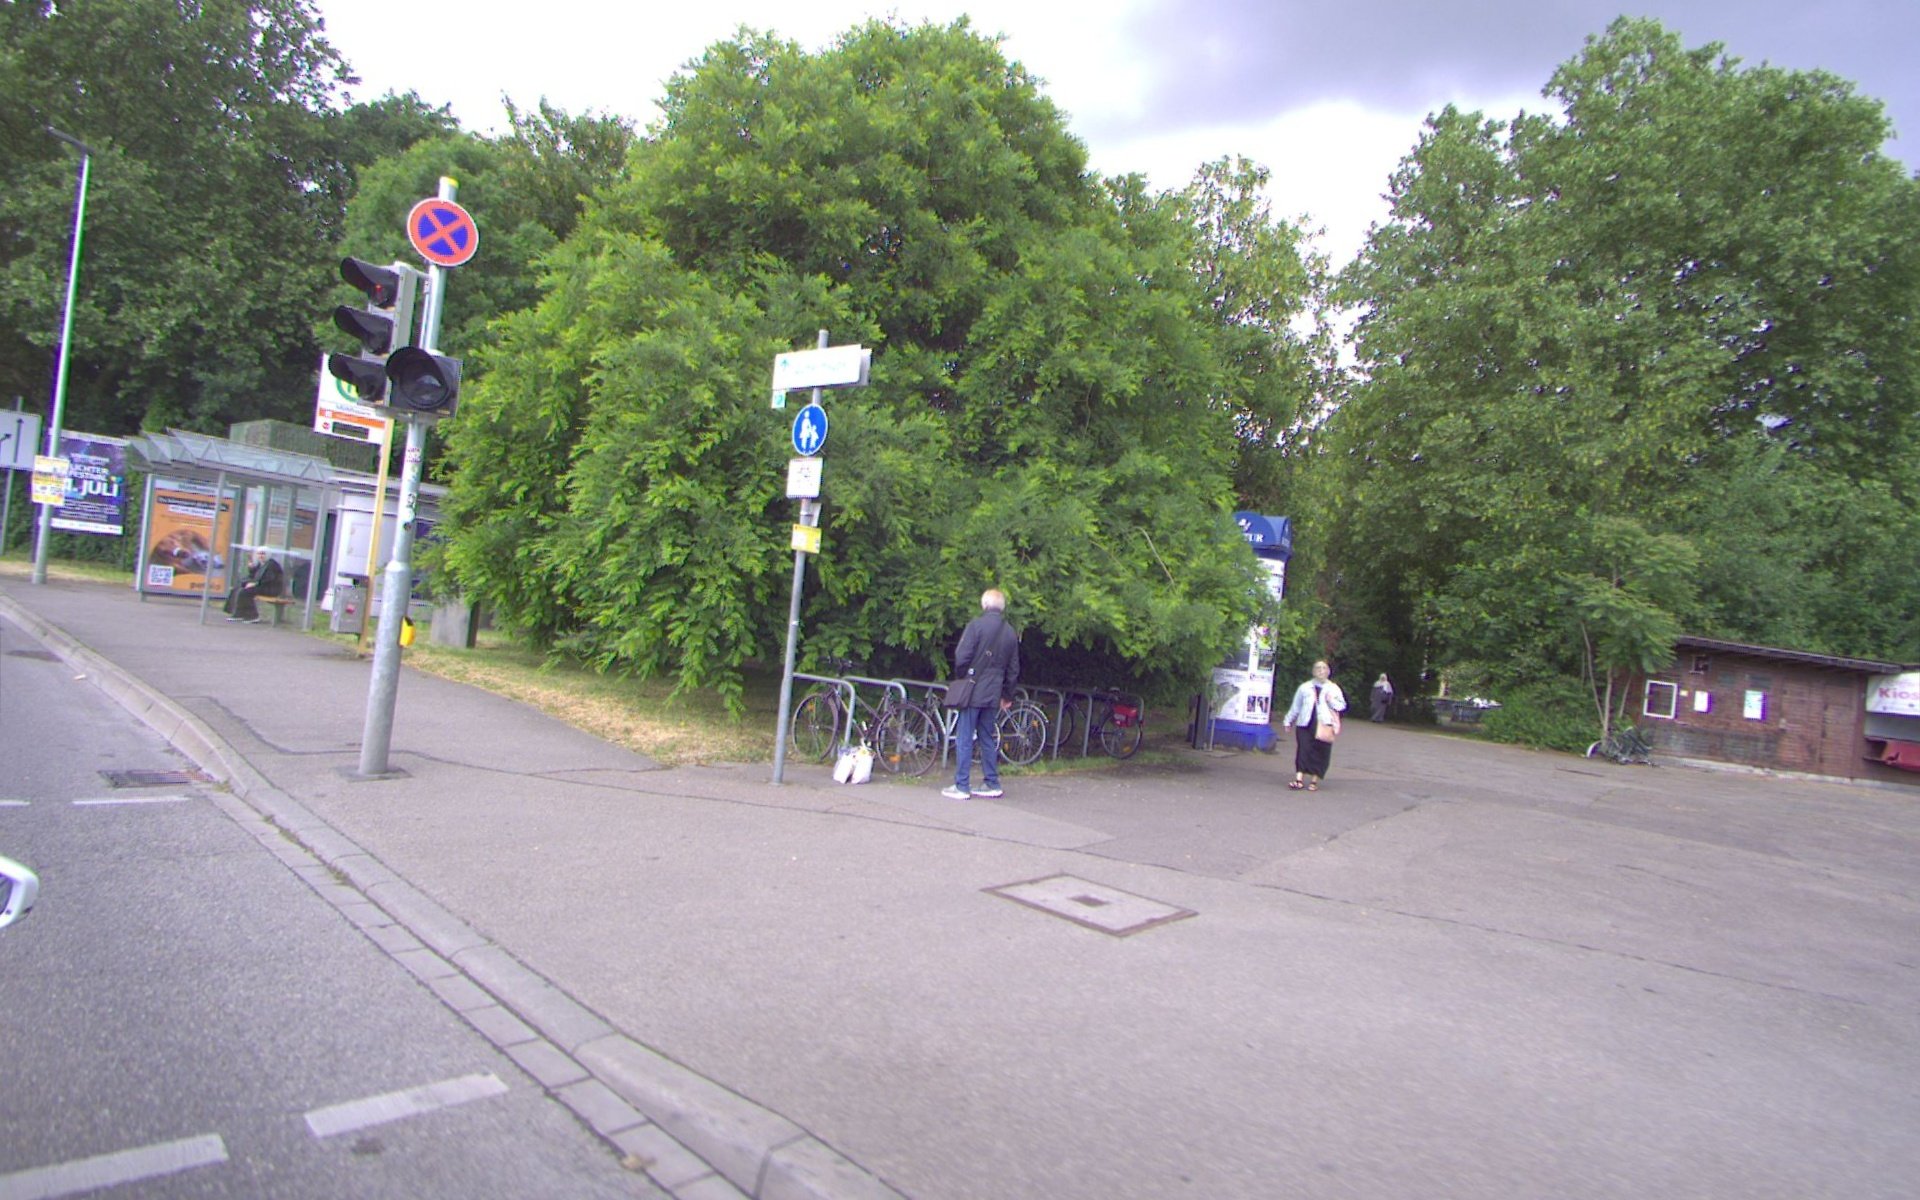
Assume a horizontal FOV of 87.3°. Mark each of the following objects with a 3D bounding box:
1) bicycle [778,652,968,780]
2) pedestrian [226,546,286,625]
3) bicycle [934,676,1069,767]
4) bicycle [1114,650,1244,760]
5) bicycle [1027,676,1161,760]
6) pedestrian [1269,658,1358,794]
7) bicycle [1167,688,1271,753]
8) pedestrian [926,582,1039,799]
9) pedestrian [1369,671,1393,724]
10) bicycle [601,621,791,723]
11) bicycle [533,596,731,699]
[{"bbox_3d":[-0.875,1.090,9.803,1.821,0.918,0.523,8,1,32],"label":"bicycle"},{"bbox_3d":[-11.196,-0.226,16.000,0.539,1.172,0.600,6,1,42],"label":"pedestrian"},{"bbox_3d":[0.464,1.402,11.745,1.491,0.817,0.477,6,-2,37],"label":"bicycle"},{"bbox_3d":[3.264,1.556,15.063,1.632,1.388,0.644,6,-1,37],"label":"bicycle"},{"bbox_3d":[1.802,1.586,13.676,1.712,0.866,0.477,6,-2,37],"label":"bicycle"},{"bbox_3d":[4.318,1.519,12.287,0.662,1.532,0.752,6,0,42],"label":"pedestrian"},{"bbox_3d":[4.531,2.101,17.653,1.632,0.866,0.477,6,-2,37],"label":"bicycle"},{"bbox_3d":[0.199,0.781,8.659,0.685,1.774,0.415,8,-2,-43],"label":"pedestrian"},{"bbox_3d":[13.040,3.000,31.157,0.489,1.584,0.617,4,-1,32],"label":"pedestrian"},{"bbox_3d":[-2.750,0.786,10.653,0.537,0.936,1.863,8,0,43],"label":"bicycle"},{"bbox_3d":[-3.778,0.571,11.700,2.026,0.950,0.586,9,-2,-34],"label":"bicycle"}]
